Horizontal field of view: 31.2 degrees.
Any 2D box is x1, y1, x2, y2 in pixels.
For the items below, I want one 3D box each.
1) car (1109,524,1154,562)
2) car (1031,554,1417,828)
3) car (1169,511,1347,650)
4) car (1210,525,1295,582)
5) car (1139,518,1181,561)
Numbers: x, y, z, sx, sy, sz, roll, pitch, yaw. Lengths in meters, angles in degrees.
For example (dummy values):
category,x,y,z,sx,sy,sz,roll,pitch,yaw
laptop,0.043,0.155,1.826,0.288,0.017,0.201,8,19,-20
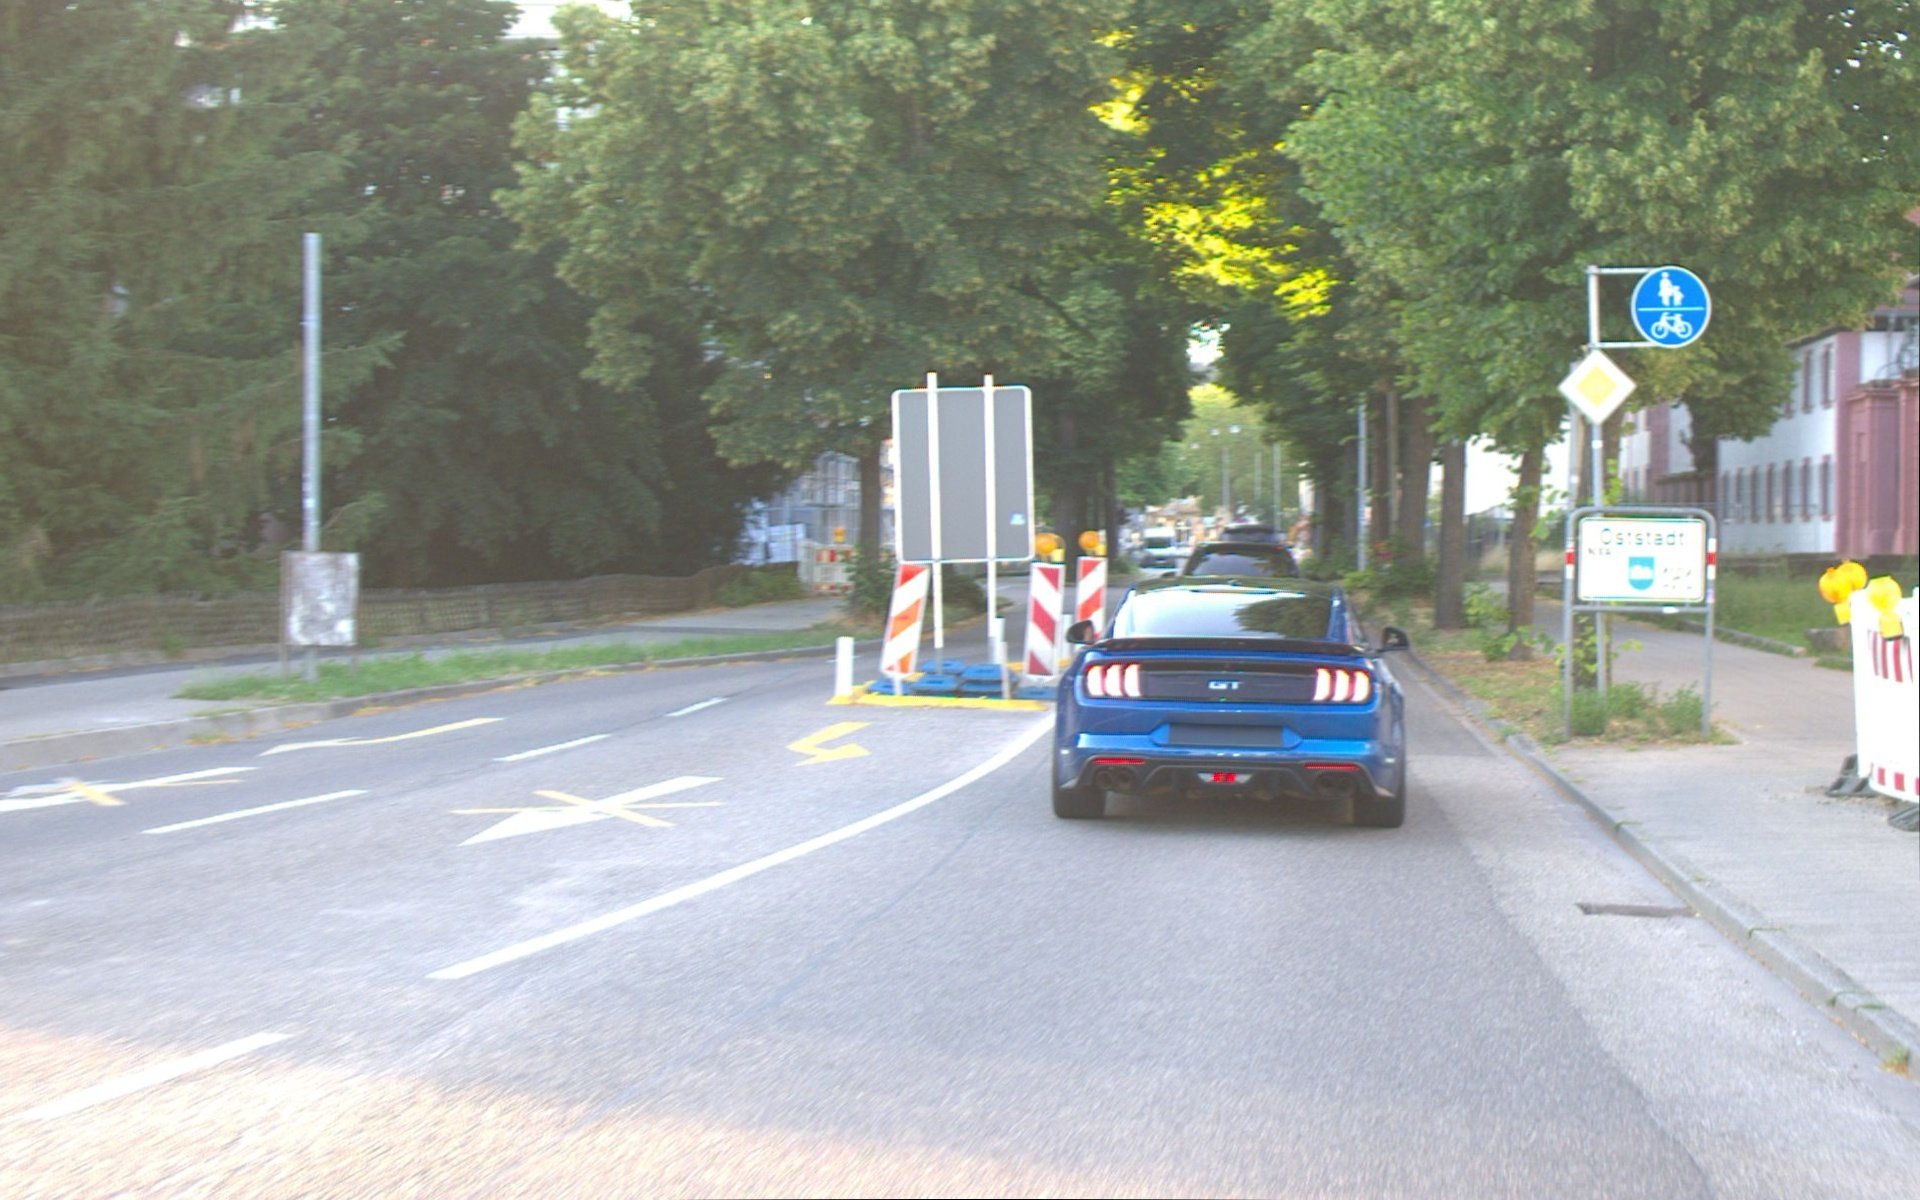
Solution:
category,x,y,z,sx,sy,sz,roll,pitch,yaw
car,10.156,-3.371,203.214,2.337,2.190,5.307,0,1,7
car,1.529,0.442,19.777,1.947,1.322,3.999,2,1,5
car,3.634,-0.258,41.352,1.947,1.522,3.999,2,1,7
car,7.310,-1.175,85.626,1.947,1.322,3.999,2,1,7
car,12.511,-3.779,214.594,2.492,2.687,5.830,0,1,4
